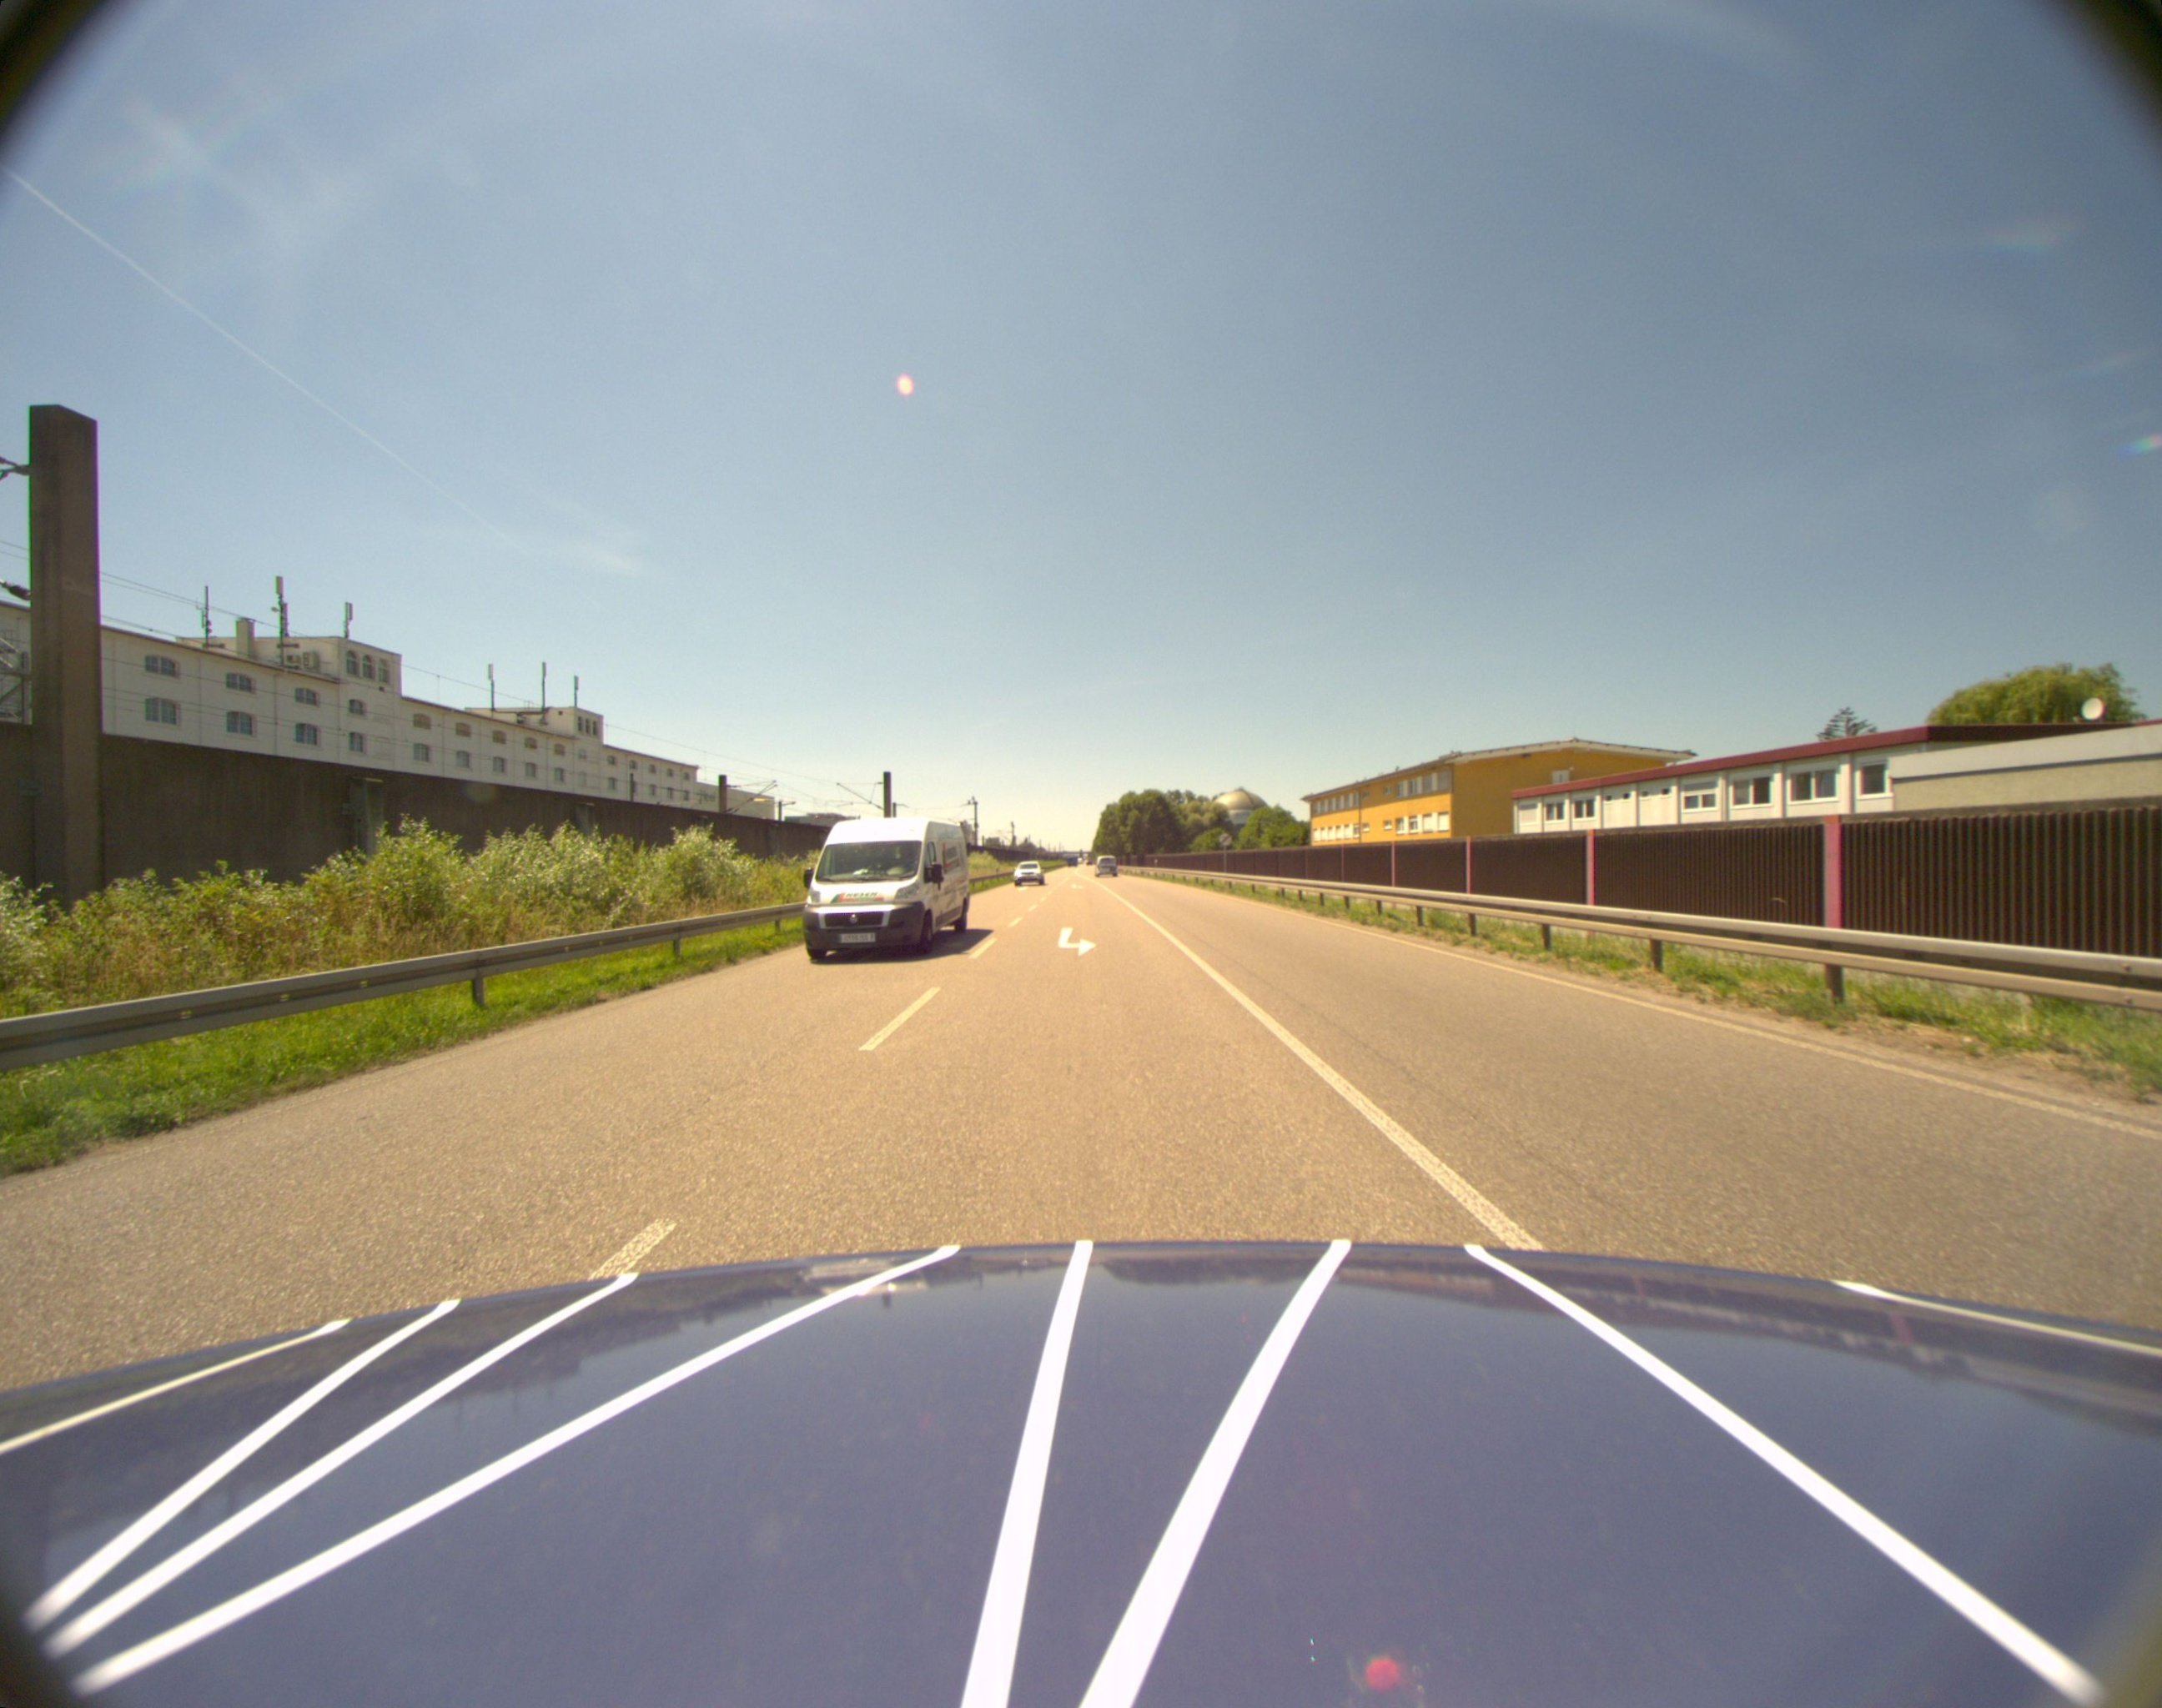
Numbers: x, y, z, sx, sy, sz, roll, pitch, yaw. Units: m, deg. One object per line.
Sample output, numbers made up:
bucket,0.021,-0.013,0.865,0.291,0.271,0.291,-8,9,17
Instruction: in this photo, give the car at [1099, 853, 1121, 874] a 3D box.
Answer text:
car,2.537,0.787,67.413,1.892,1.730,4.777,-2,0,1

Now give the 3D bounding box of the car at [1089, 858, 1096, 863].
car,3.148,1.808,208.391,1.849,1.382,4.190,-3,0,0

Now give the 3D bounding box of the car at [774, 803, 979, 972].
car,-3.699,0.549,15.433,2.194,2.588,6.750,-3,0,0

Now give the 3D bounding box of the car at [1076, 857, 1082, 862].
car,-0.695,1.866,256.342,1.730,1.464,3.889,-1,0,-1

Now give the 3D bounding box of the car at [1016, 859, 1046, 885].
car,-3.250,1.139,50.041,1.823,1.554,4.278,-2,0,-2

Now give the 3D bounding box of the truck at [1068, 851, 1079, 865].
truck,-1.859,0.947,185.710,2.617,3.024,10.655,-1,0,0
